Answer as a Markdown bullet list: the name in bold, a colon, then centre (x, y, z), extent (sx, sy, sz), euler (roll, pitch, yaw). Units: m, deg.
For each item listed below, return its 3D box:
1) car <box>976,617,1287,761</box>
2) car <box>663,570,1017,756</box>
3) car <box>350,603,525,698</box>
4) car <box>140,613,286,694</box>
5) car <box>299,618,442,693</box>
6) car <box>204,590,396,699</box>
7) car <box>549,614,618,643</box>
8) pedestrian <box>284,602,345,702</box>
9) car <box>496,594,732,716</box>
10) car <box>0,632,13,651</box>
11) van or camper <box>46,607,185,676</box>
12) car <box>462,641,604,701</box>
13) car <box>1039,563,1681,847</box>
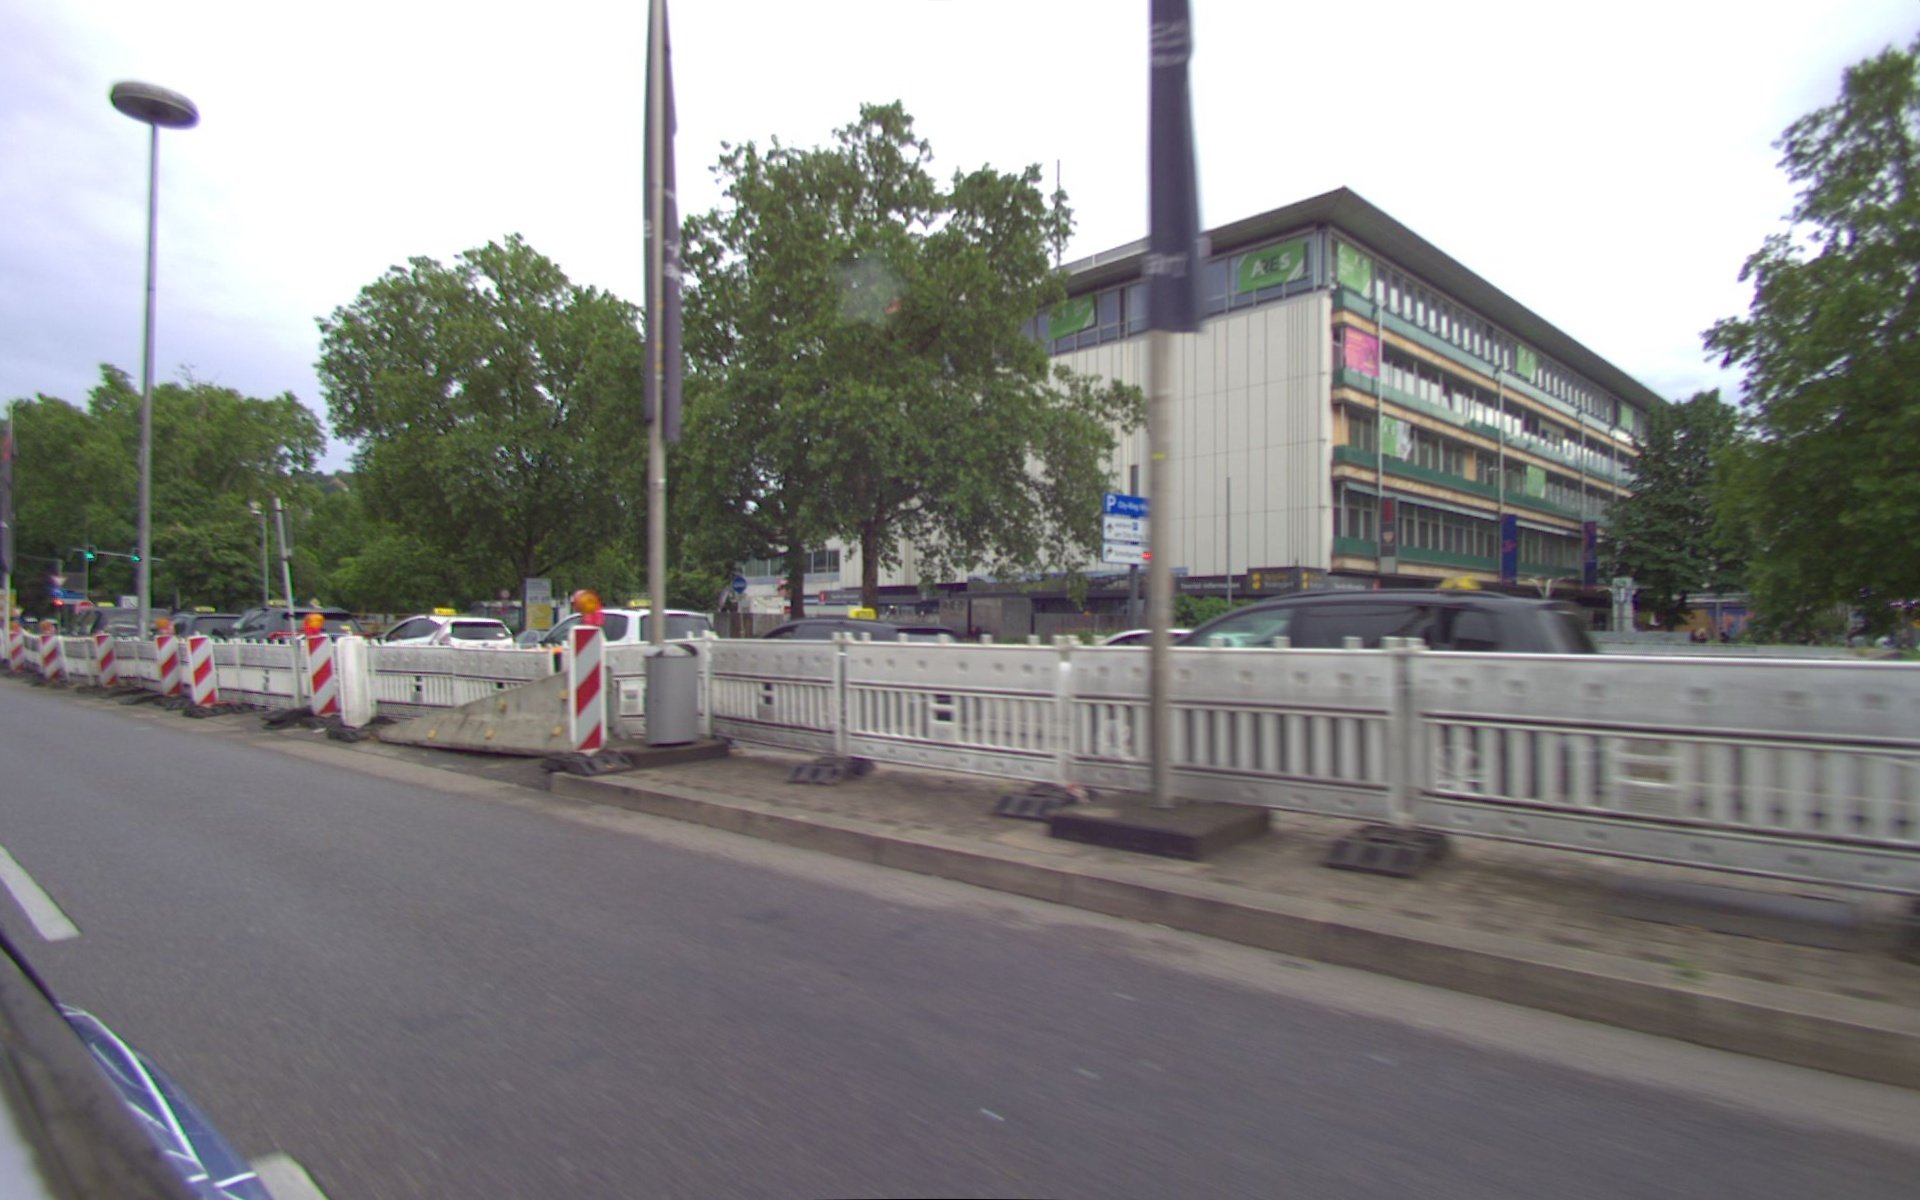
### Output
- **car**: centre (2.264, 1.124, 13.909), extent (3.802, 1.658, 1.814), euler (-3, -1, 42)
- **car**: centre (-1.646, 0.712, 12.649), extent (4.522, 1.912, 1.882), euler (-3, -1, 43)
- **car**: centre (-11.558, 1.099, 22.252), extent (4.564, 1.866, 1.894), euler (-2, -3, 42)
- **car**: centre (-18.238, 1.289, 24.633), extent (4.810, 1.784, 1.972), euler (-3, -3, 43)
- **car**: centre (-15.124, 1.385, 25.870), extent (4.420, 1.715, 1.870), euler (-3, -1, 41)
- **car**: centre (-12.793, 0.866, 19.487), extent (4.810, 1.831, 1.972), euler (-3, -3, 43)
- **car**: centre (-29.542, 2.192, 79.370), extent (4.751, 2.029, 2.042), euler (-2, 0, -29)
- **pedestrian**: centre (-13.475, 1.067, 21.138), extent (0.821, 2.029, 0.867), euler (-2, -2, 39)
- **car**: centre (-5.785, 0.884, 16.612), extent (4.482, 1.735, 1.764), euler (-3, -3, 43)
- **car**: centre (-79.780, 3.440, 83.997), extent (1.659, 1.554, 3.175), euler (2, -4, -45)
- **van or camper**: centre (-24.544, 1.221, 29.336), extent (5.384, 1.833, 1.927), euler (-2, -4, 38)
- **car**: centre (-11.865, 1.912, 28.044), extent (3.996, 1.453, 1.974), euler (-2, -1, 39)
- **car**: centre (3.019, 0.696, 8.322), extent (4.499, 1.712, 1.882), euler (-3, -1, 43)
